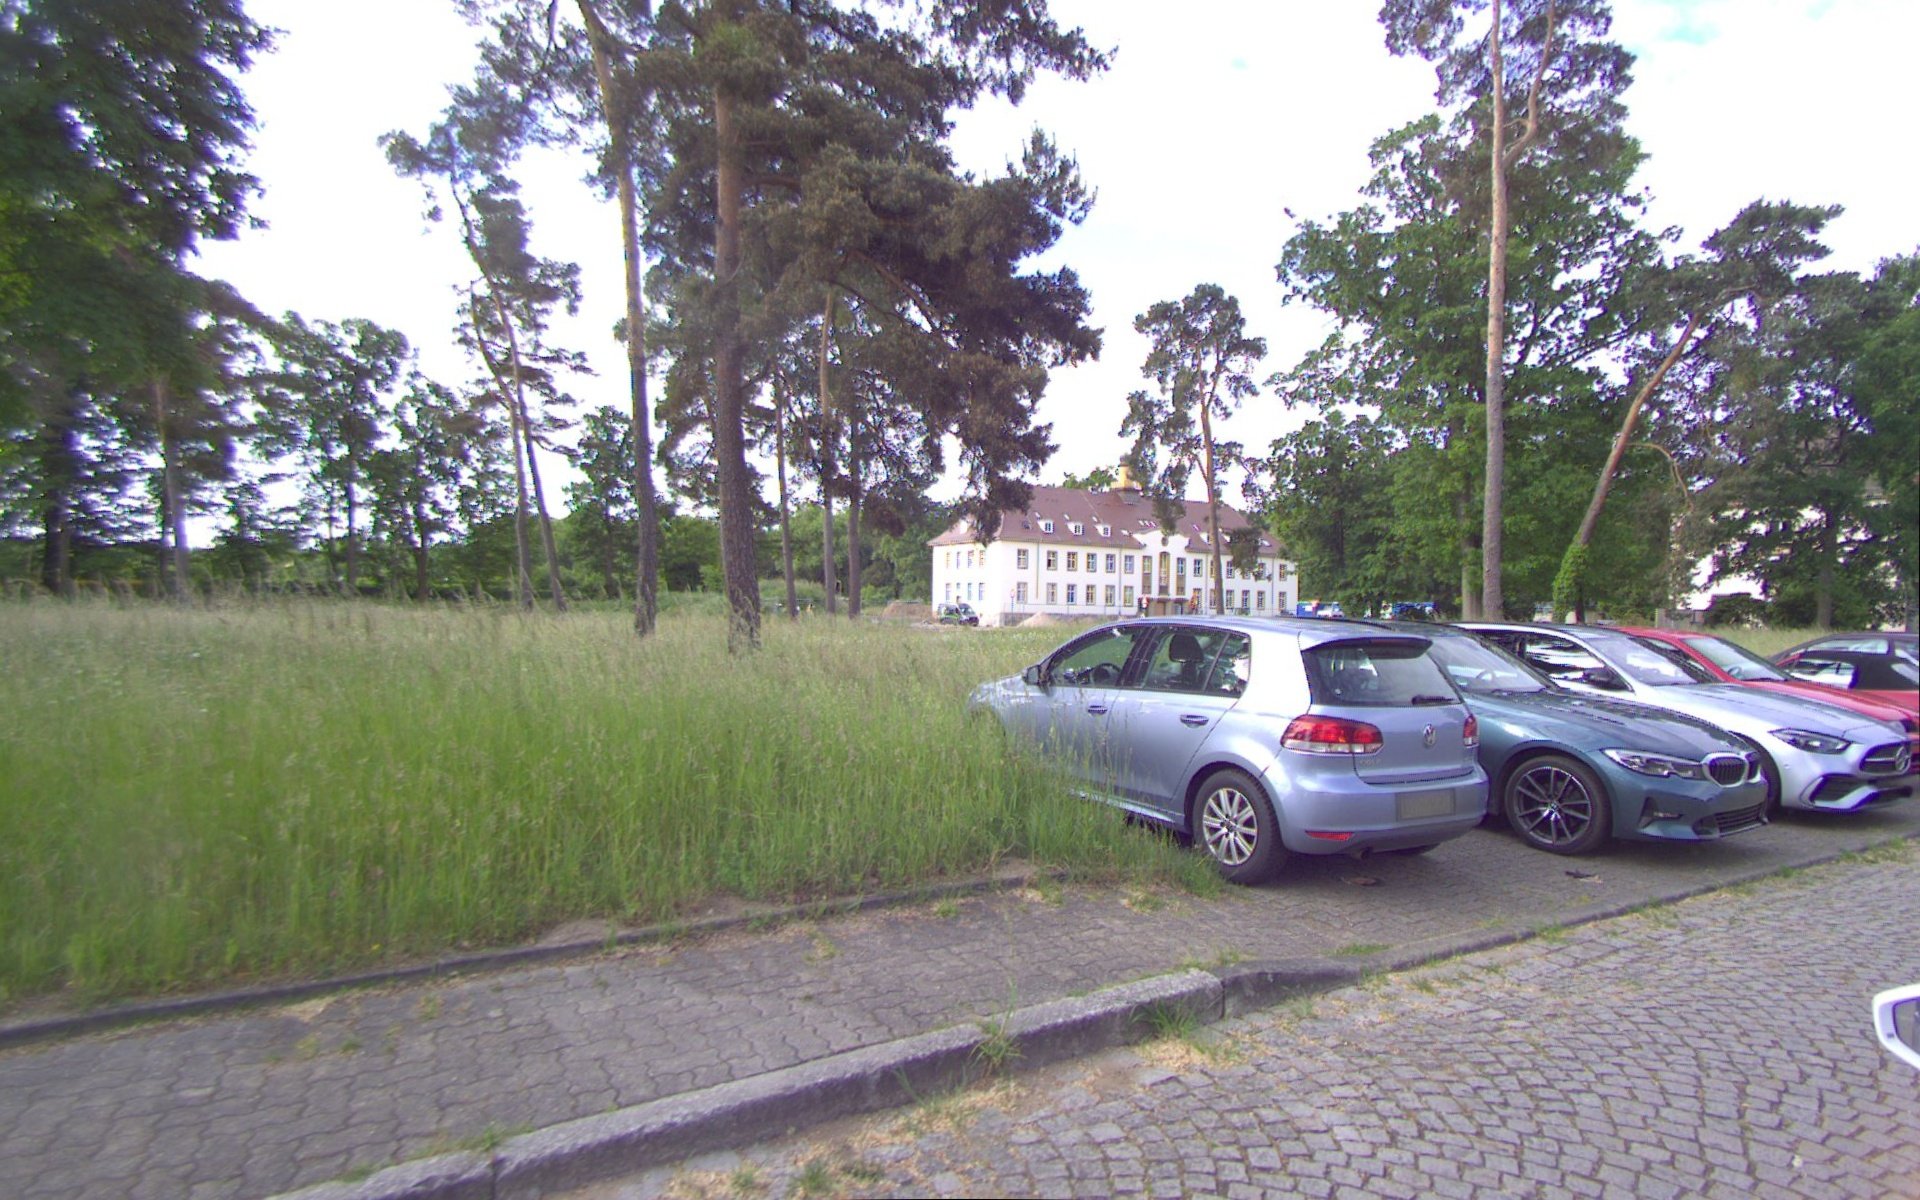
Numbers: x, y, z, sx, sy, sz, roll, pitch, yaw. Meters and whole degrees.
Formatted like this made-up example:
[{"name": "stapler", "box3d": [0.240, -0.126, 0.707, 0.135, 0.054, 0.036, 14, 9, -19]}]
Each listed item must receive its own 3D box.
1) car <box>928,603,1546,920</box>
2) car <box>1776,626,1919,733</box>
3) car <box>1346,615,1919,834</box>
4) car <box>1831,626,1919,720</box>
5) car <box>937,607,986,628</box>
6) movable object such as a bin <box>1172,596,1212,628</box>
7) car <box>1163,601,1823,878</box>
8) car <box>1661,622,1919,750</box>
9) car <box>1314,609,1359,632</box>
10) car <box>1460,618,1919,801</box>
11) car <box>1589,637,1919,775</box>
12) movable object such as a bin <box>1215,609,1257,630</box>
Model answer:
[{"name": "car", "box3d": [1.555, 0.827, 7.255, 1.805, 1.490, 4.310, 2, 0, -29]}, {"name": "car", "box3d": [14.975, 1.212, 14.770, 1.709, 1.500, 4.286, 1, 0, -28]}, {"name": "car", "box3d": [6.205, 0.963, 9.696, 1.926, 1.474, 4.417, 2, 0, -29]}, {"name": "car", "box3d": [17.232, 1.268, 16.530, 1.820, 1.522, 3.988, 1, 0, -28]}, {"name": "car", "box3d": [0.114, 1.923, 110.860, 2.351, 2.143, 5.759, 3, -2, -39]}, {"name": "movable object such as a bin", "box3d": [27.950, 1.468, 121.097, 2.105, 3.689, 6.120, 3, -1, -13]}, {"name": "car", "box3d": [3.951, 0.850, 8.295, 1.851, 1.557, 4.474, 2, 0, -33]}, {"name": "car", "box3d": [12.284, 1.124, 13.742, 1.734, 1.500, 4.070, 1, 0, -29]}, {"name": "car", "box3d": [38.498, 2.079, 102.688, 4.296, 2.123, 2.051, 3, -2, -31]}, {"name": "car", "box3d": [8.044, 1.004, 11.078, 1.833, 1.475, 4.234, 1, 0, -30]}, {"name": "car", "box3d": [10.183, 1.181, 12.073, 1.743, 1.300, 4.111, 1, 0, -30]}, {"name": "movable object such as a bin", "box3d": [32.060, 2.249, 116.779, 2.348, 2.283, 4.494, 3, -1, -25]}]
